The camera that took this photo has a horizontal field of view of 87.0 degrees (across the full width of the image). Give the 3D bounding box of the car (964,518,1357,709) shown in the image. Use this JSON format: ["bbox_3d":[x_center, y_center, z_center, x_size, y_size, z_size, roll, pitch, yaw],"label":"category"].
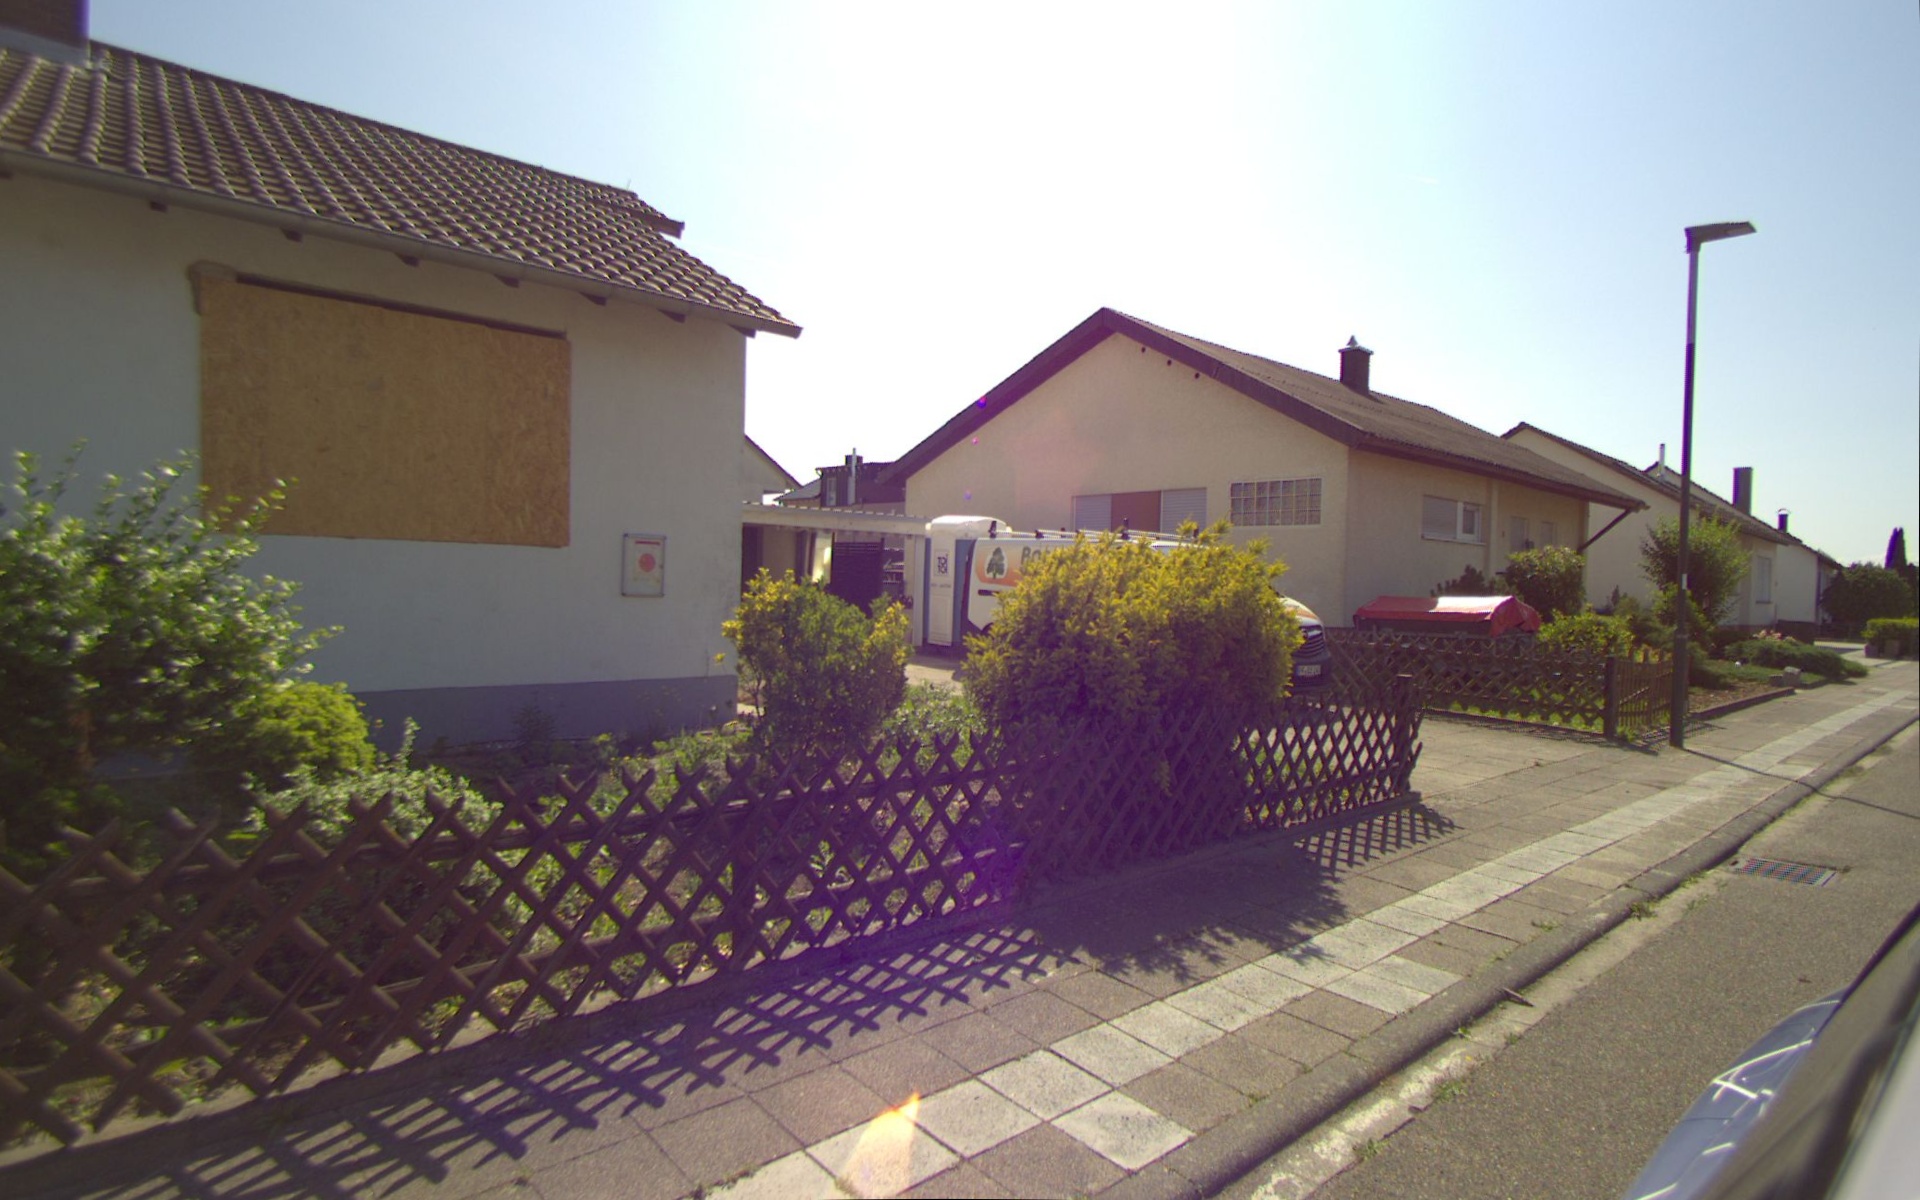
[{"bbox_3d":[2.366,0.045,13.299,1.834,2.038,5.009,1,2,-39],"label":"car"}]

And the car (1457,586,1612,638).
[{"bbox_3d":[18.228,0.339,32.221,3.988,1.439,1.667,3,2,44],"label":"car"}]
